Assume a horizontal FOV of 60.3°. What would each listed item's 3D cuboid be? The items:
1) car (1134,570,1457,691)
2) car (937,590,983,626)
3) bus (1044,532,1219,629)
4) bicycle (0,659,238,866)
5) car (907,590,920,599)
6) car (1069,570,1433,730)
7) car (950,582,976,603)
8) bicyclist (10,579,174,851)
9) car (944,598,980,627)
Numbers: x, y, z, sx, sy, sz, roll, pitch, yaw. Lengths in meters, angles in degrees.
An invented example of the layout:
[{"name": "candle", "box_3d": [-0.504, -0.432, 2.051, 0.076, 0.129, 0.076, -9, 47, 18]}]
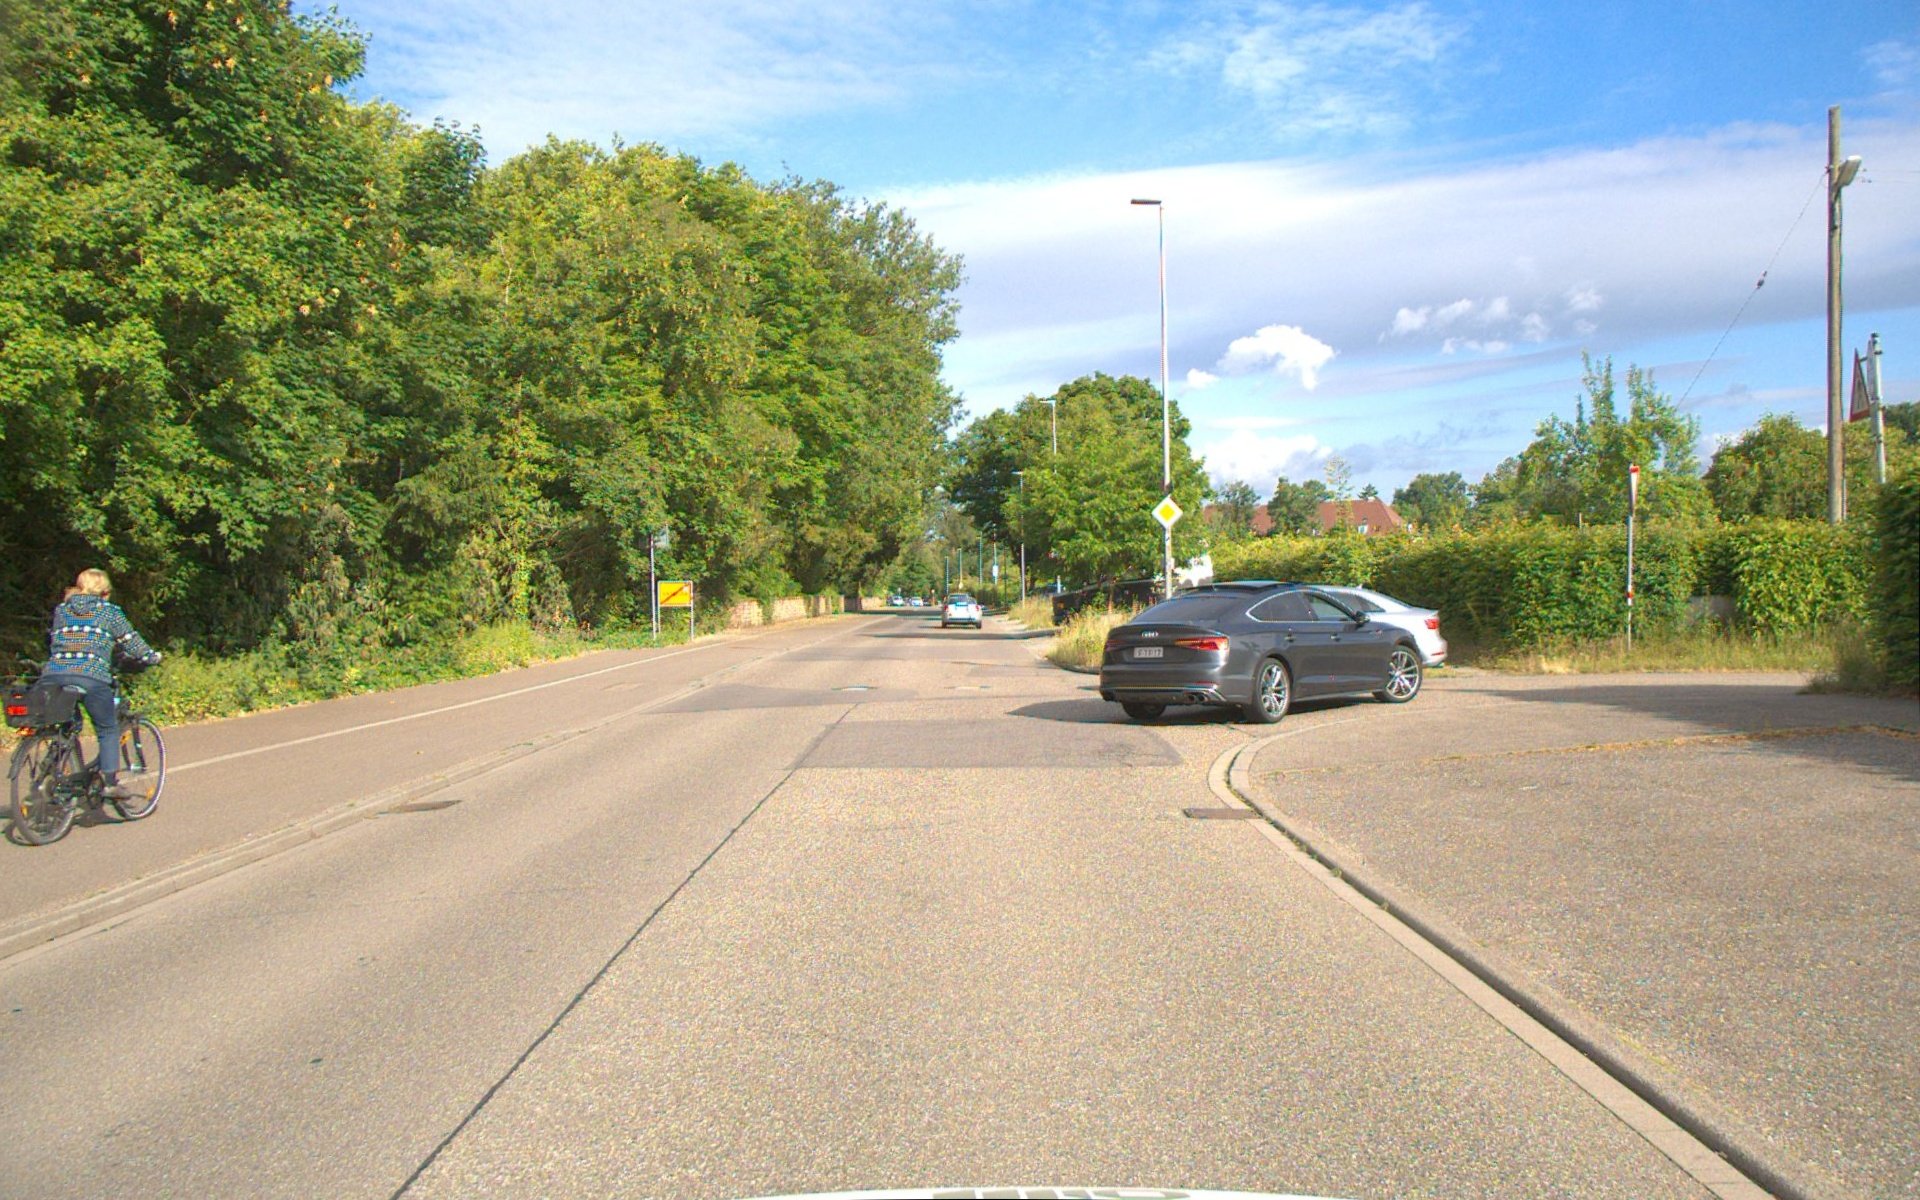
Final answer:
[{"name": "car", "box_3d": [4.653, 0.420, 23.498, 4.270, 1.468, 1.934, -3, 0, 6]}, {"name": "car", "box_3d": [-0.037, 0.317, 69.580, 1.848, 1.396, 4.054, -2, 0, -1]}, {"name": "bus", "box_3d": [5.479, -0.648, 53.272, 5.259, 2.794, 2.067, -3, 1, -3]}, {"name": "bicycle", "box_3d": [-5.671, 1.013, 11.053, 0.649, 1.116, 2.349, 0, 1, 0]}, {"name": "car", "box_3d": [-6.934, -0.817, 246.894, 1.849, 1.396, 4.053, -2, 0, -2]}, {"name": "car", "box_3d": [3.299, 0.467, 18.164, 1.938, 1.459, 4.310, -1, 1, 42]}, {"name": "car", "box_3d": [0.206, -0.557, 121.452, 1.848, 1.396, 4.054, -2, 0, -1]}, {"name": "bicyclist", "box_3d": [-5.669, 0.717, 10.842, 0.596, 1.706, 0.884, 0, 0, 0]}, {"name": "car", "box_3d": [0.080, 0.670, 91.300, 1.848, 1.490, 4.054, -2, 0, -1]}]
